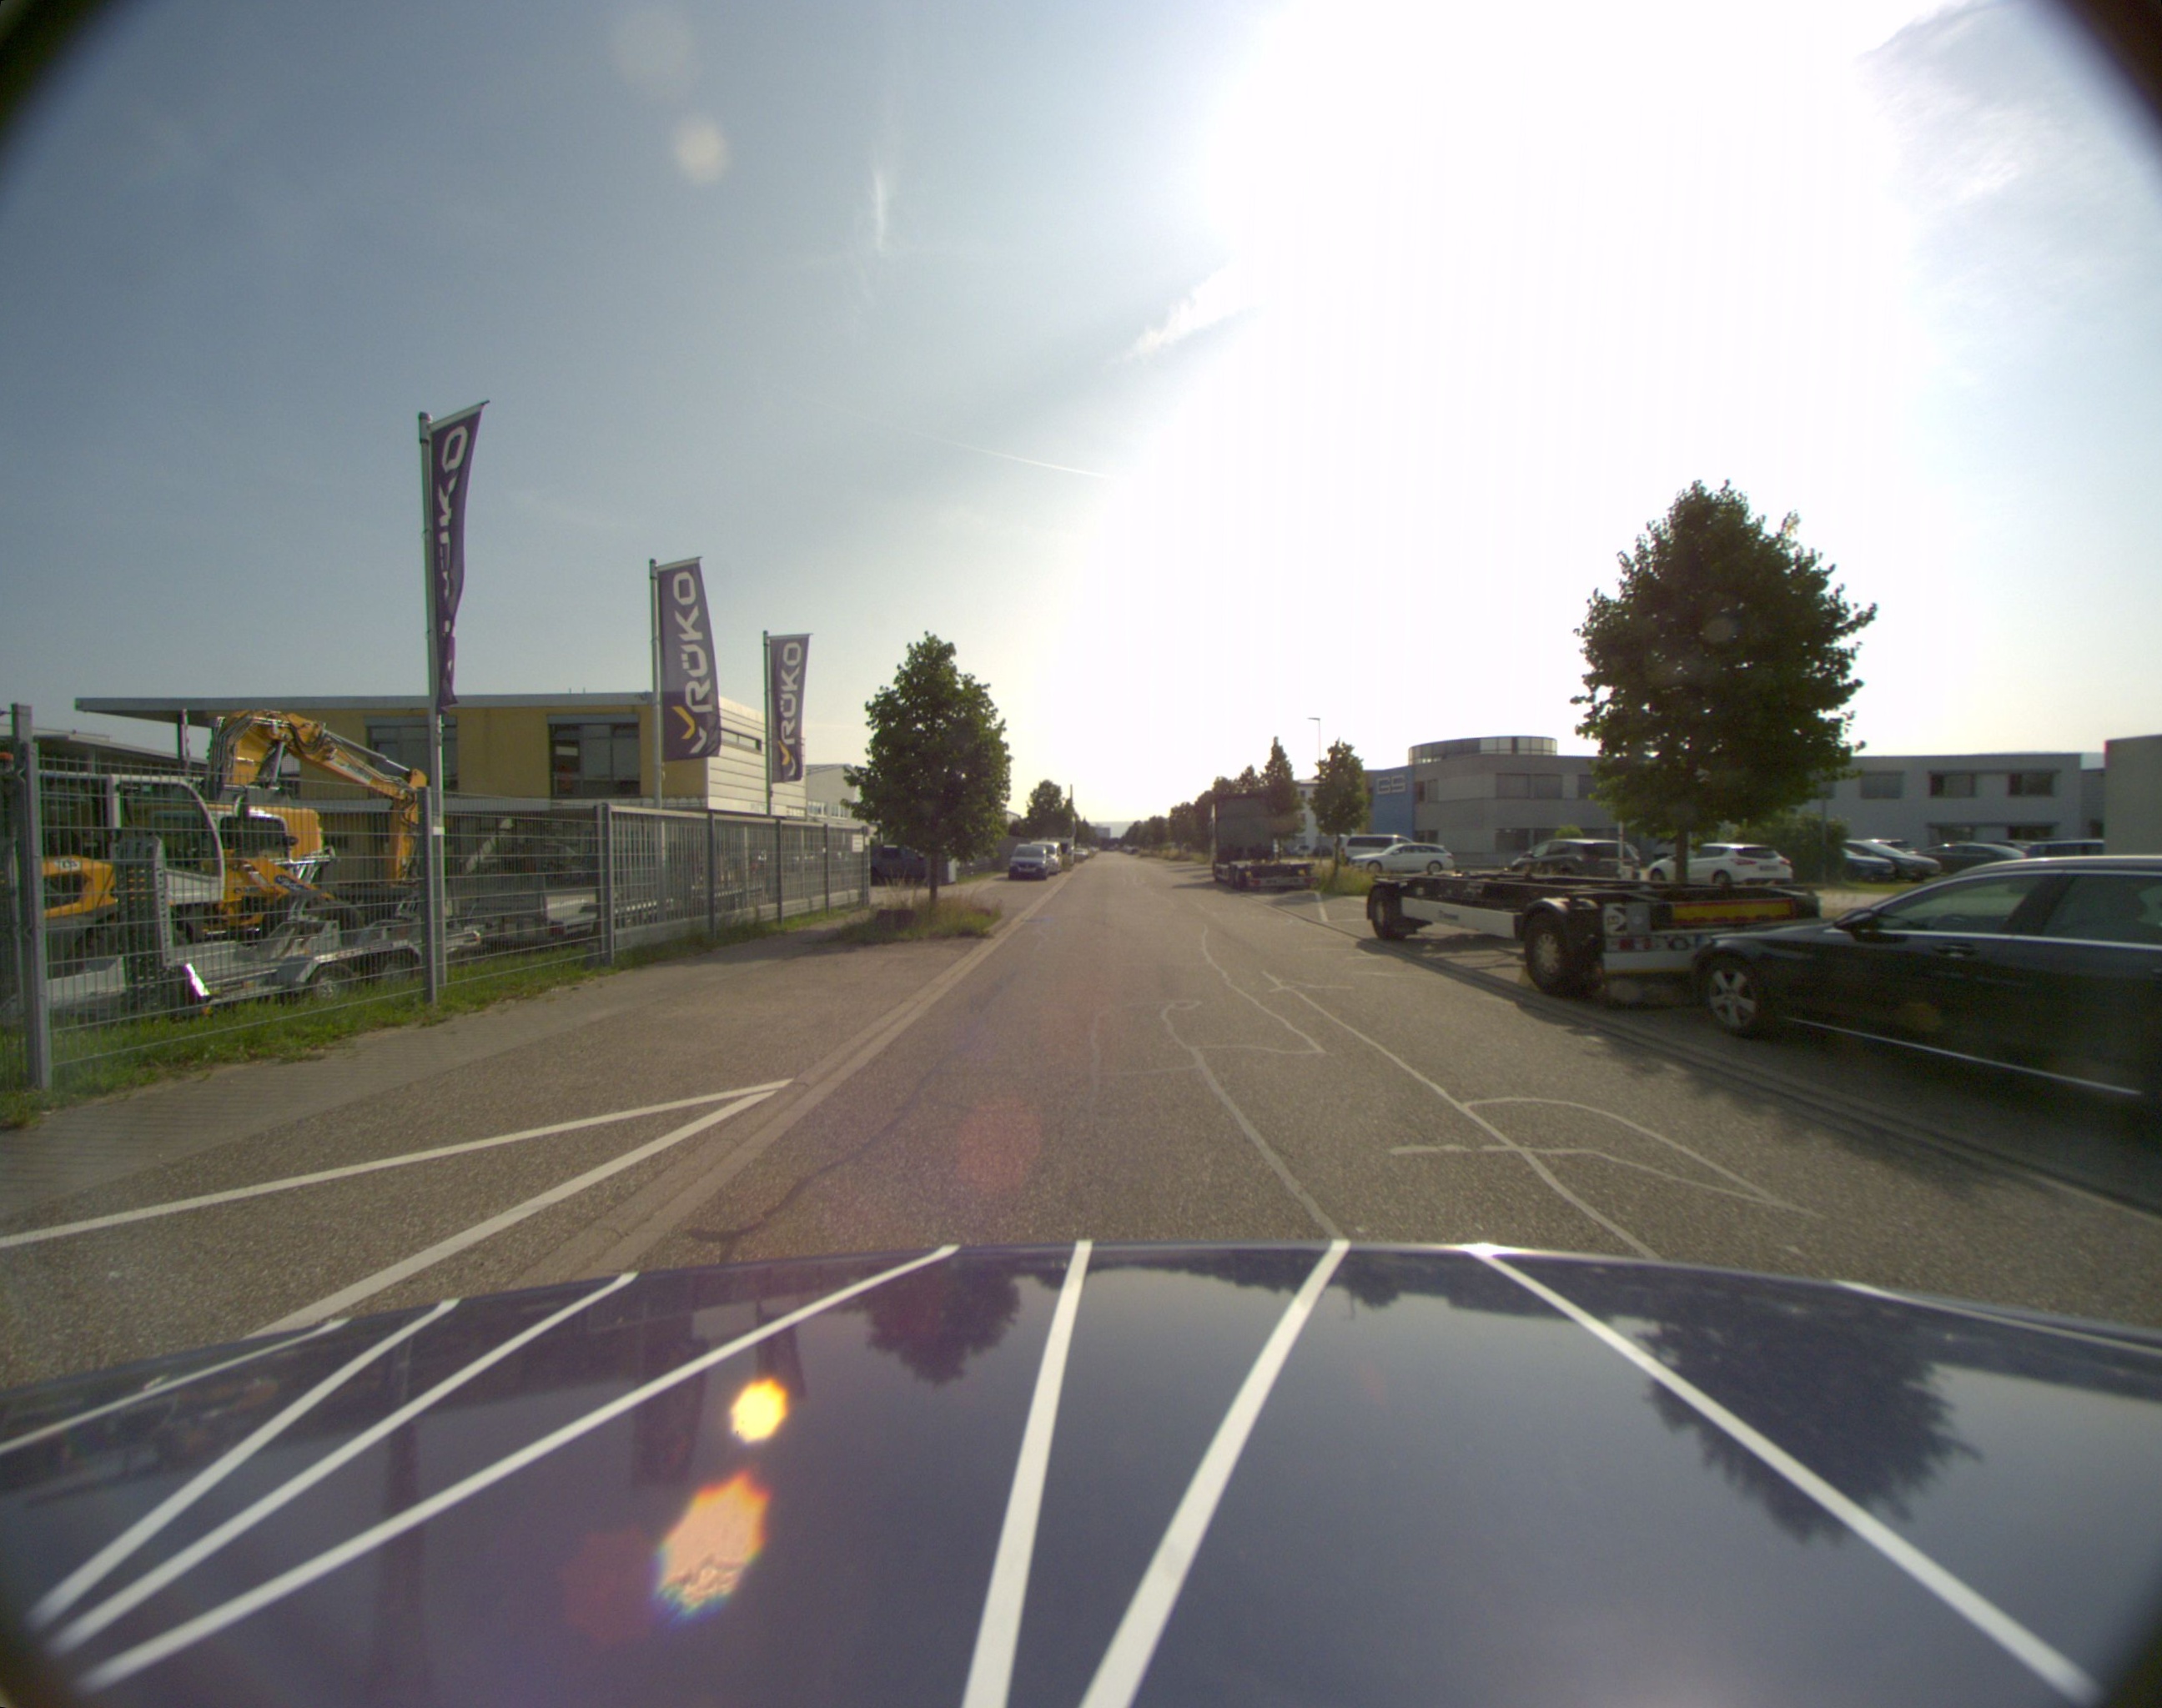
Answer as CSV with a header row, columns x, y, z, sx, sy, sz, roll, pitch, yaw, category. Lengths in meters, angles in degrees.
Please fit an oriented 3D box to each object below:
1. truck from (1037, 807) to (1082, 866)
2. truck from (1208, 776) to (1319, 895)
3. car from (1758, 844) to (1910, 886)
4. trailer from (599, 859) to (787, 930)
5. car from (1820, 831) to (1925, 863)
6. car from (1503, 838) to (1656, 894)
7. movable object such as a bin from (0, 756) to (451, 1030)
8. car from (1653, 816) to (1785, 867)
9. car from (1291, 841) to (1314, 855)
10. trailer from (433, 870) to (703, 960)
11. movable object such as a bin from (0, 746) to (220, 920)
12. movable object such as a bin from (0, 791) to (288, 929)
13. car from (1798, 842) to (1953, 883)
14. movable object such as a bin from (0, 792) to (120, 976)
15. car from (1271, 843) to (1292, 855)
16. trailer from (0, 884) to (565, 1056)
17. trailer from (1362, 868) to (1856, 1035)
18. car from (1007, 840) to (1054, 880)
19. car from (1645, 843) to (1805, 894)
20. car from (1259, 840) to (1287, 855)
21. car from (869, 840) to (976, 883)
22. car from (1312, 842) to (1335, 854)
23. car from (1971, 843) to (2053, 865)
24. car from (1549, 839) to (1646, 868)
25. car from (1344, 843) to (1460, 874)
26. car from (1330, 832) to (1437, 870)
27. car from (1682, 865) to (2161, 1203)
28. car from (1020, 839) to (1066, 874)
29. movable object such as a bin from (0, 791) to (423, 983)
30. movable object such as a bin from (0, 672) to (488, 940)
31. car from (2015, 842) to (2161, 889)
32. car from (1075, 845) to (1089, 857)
x,y,z,sx,sy,sz,roll,pitch,yaw,category
-1.498,-1.276,57.741,2.752,3.992,9.685,1,1,1,truck
6.878,-0.740,30.137,2.461,3.860,9.802,-2,2,3,truck
28.985,0.367,29.464,1.709,1.507,4.212,0,1,1,car
-9.125,0.879,18.416,1.998,1.303,4.563,-1,2,3,trailer
45.046,-0.421,43.359,1.833,1.701,3.999,-1,1,1,car
16.185,0.334,25.040,1.998,1.677,4.698,0,1,0,car
-11.627,0.351,10.158,1.891,2.736,5.160,0,1,3,movable object such as a bin
35.822,-0.720,42.954,1.711,2.679,5.743,-1,2,-15,car
27.723,-0.777,95.345,1.910,1.609,3.918,-1,1,3,car
-8.958,0.984,13.834,1.949,1.236,4.293,0,1,1,trailer
-25.744,-0.487,17.778,2.925,3.906,7.207,0,1,1,movable object such as a bin
-22.512,0.097,17.048,2.707,2.700,6.348,0,1,1,movable object such as a bin
31.287,0.282,30.116,1.709,1.507,4.212,0,1,1,car
-16.096,0.429,8.833,2.929,2.477,5.339,0,1,3,movable object such as a bin
25.188,-0.675,95.589,1.758,1.459,3.918,-1,1,3,car
-8.843,1.111,9.003,2.131,1.236,4.795,0,1,1,trailer
5.941,0.932,10.250,2.134,1.225,7.159,-2,0,4,trailer
-2.367,0.232,36.569,1.830,1.710,4.248,-1,2,1,car
21.040,0.413,25.081,1.709,1.507,4.212,0,1,1,car
20.989,-0.690,83.155,1.947,1.597,4.509,-1,1,1,car
-6.664,0.298,32.287,4.237,1.727,1.898,-1,1,-5,car
30.338,-0.795,95.149,1.758,1.459,3.918,-1,1,3,car
52.012,-0.005,42.503,1.090,1.170,2.711,0,1,-7,car
28.421,-0.068,41.970,1.580,1.473,4.518,-1,2,-14,car
15.313,0.199,36.446,4.738,1.423,2.000,-1,1,1,car
15.498,-0.156,39.118,4.715,1.825,2.103,-1,1,2,car
6.103,0.877,4.301,1.998,1.458,4.432,-2,0,3,car
-2.020,0.083,41.864,1.998,1.779,4.599,-1,2,3,car
-13.734,0.386,12.123,1.997,2.444,4.765,0,1,6,movable object such as a bin
-18.364,-0.885,17.447,3.324,4.779,7.672,0,1,1,movable object such as a bin
34.764,0.347,25.414,1.903,1.434,3.993,-1,1,-17,car
0.135,-0.382,100.177,1.668,1.495,3.541,1,1,1,car
